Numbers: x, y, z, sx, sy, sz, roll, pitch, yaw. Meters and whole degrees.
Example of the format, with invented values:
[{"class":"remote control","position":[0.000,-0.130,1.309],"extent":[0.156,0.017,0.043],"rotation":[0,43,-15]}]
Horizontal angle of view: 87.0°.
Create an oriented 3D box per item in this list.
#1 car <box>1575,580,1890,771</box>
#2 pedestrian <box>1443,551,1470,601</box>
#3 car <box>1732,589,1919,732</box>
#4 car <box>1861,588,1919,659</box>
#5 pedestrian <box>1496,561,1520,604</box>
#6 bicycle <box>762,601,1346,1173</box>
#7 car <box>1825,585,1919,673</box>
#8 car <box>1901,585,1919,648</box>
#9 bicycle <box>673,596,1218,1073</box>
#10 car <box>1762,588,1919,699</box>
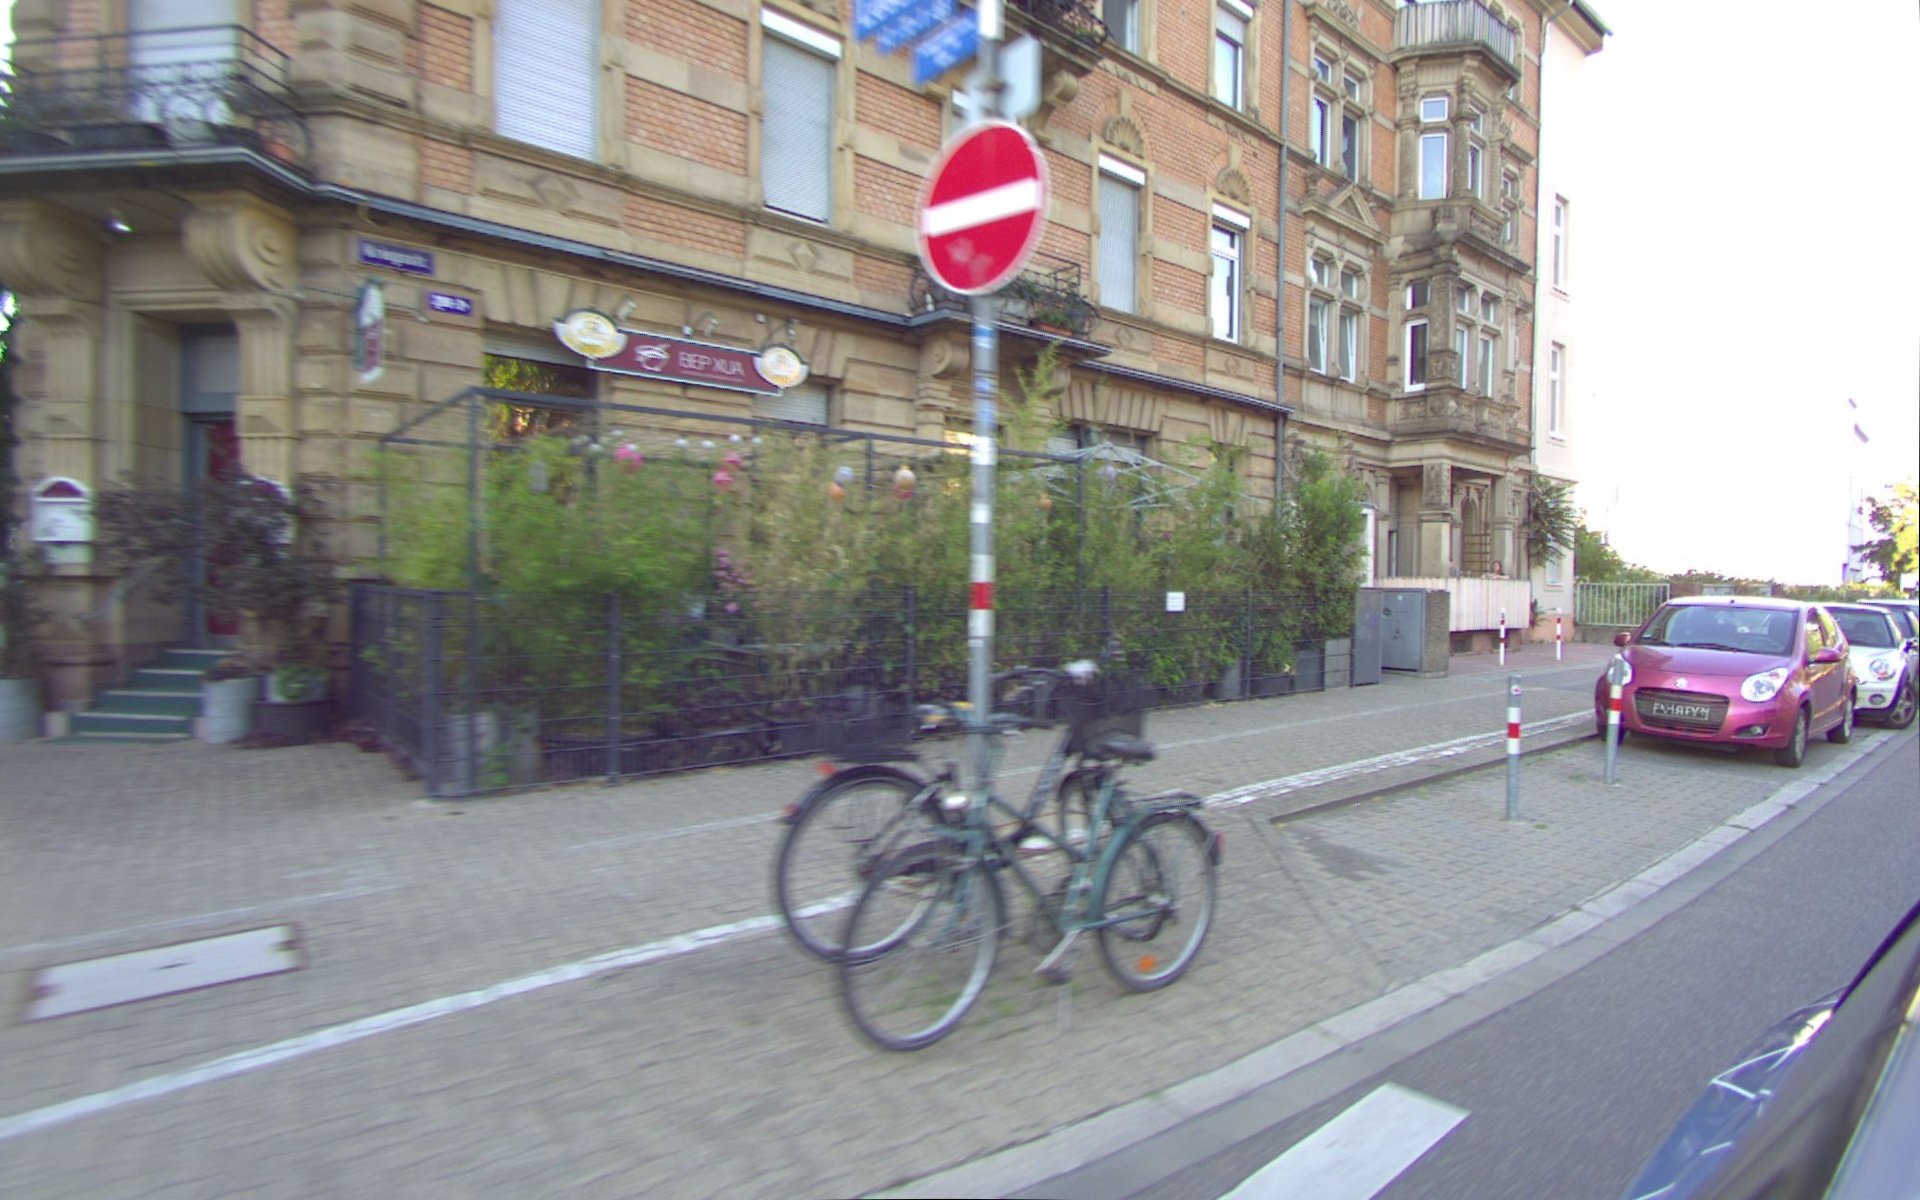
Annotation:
[{"class":"car","position":[7.831,0.607,10.171],"extent":[3.484,1.482,1.731],"rotation":[0,5,-40]},{"class":"pedestrian","position":[10.476,-0.497,21.351],"extent":[0.313,1.042,0.404],"rotation":[0,-1,-9]},{"class":"car","position":[11.286,0.643,12.874],"extent":[3.615,1.443,1.680],"rotation":[-1,5,-43]},{"class":"car","position":[21.613,0.511,22.615],"extent":[3.775,1.443,1.750],"rotation":[-1,5,-42]},{"class":"pedestrian","position":[11.500,-0.368,21.244],"extent":[0.313,0.881,0.310],"rotation":[0,-1,-9]},{"class":"bicycle","position":[0.457,0.721,3.444],"extent":[2.226,1.314,0.566],"rotation":[-2,6,-42]},{"class":"car","position":[18.401,0.513,19.626],"extent":[4.388,1.465,1.891],"rotation":[-1,5,-43]},{"class":"car","position":[25.336,0.440,25.756],"extent":[3.828,1.505,1.703],"rotation":[-1,5,-44]},{"class":"bicycle","position":[0.074,0.686,3.879],"extent":[2.226,1.290,0.566],"rotation":[-2,6,-42]},{"class":"car","position":[14.616,0.592,16.298],"extent":[4.267,1.443,1.892],"rotation":[0,5,-42]}]
